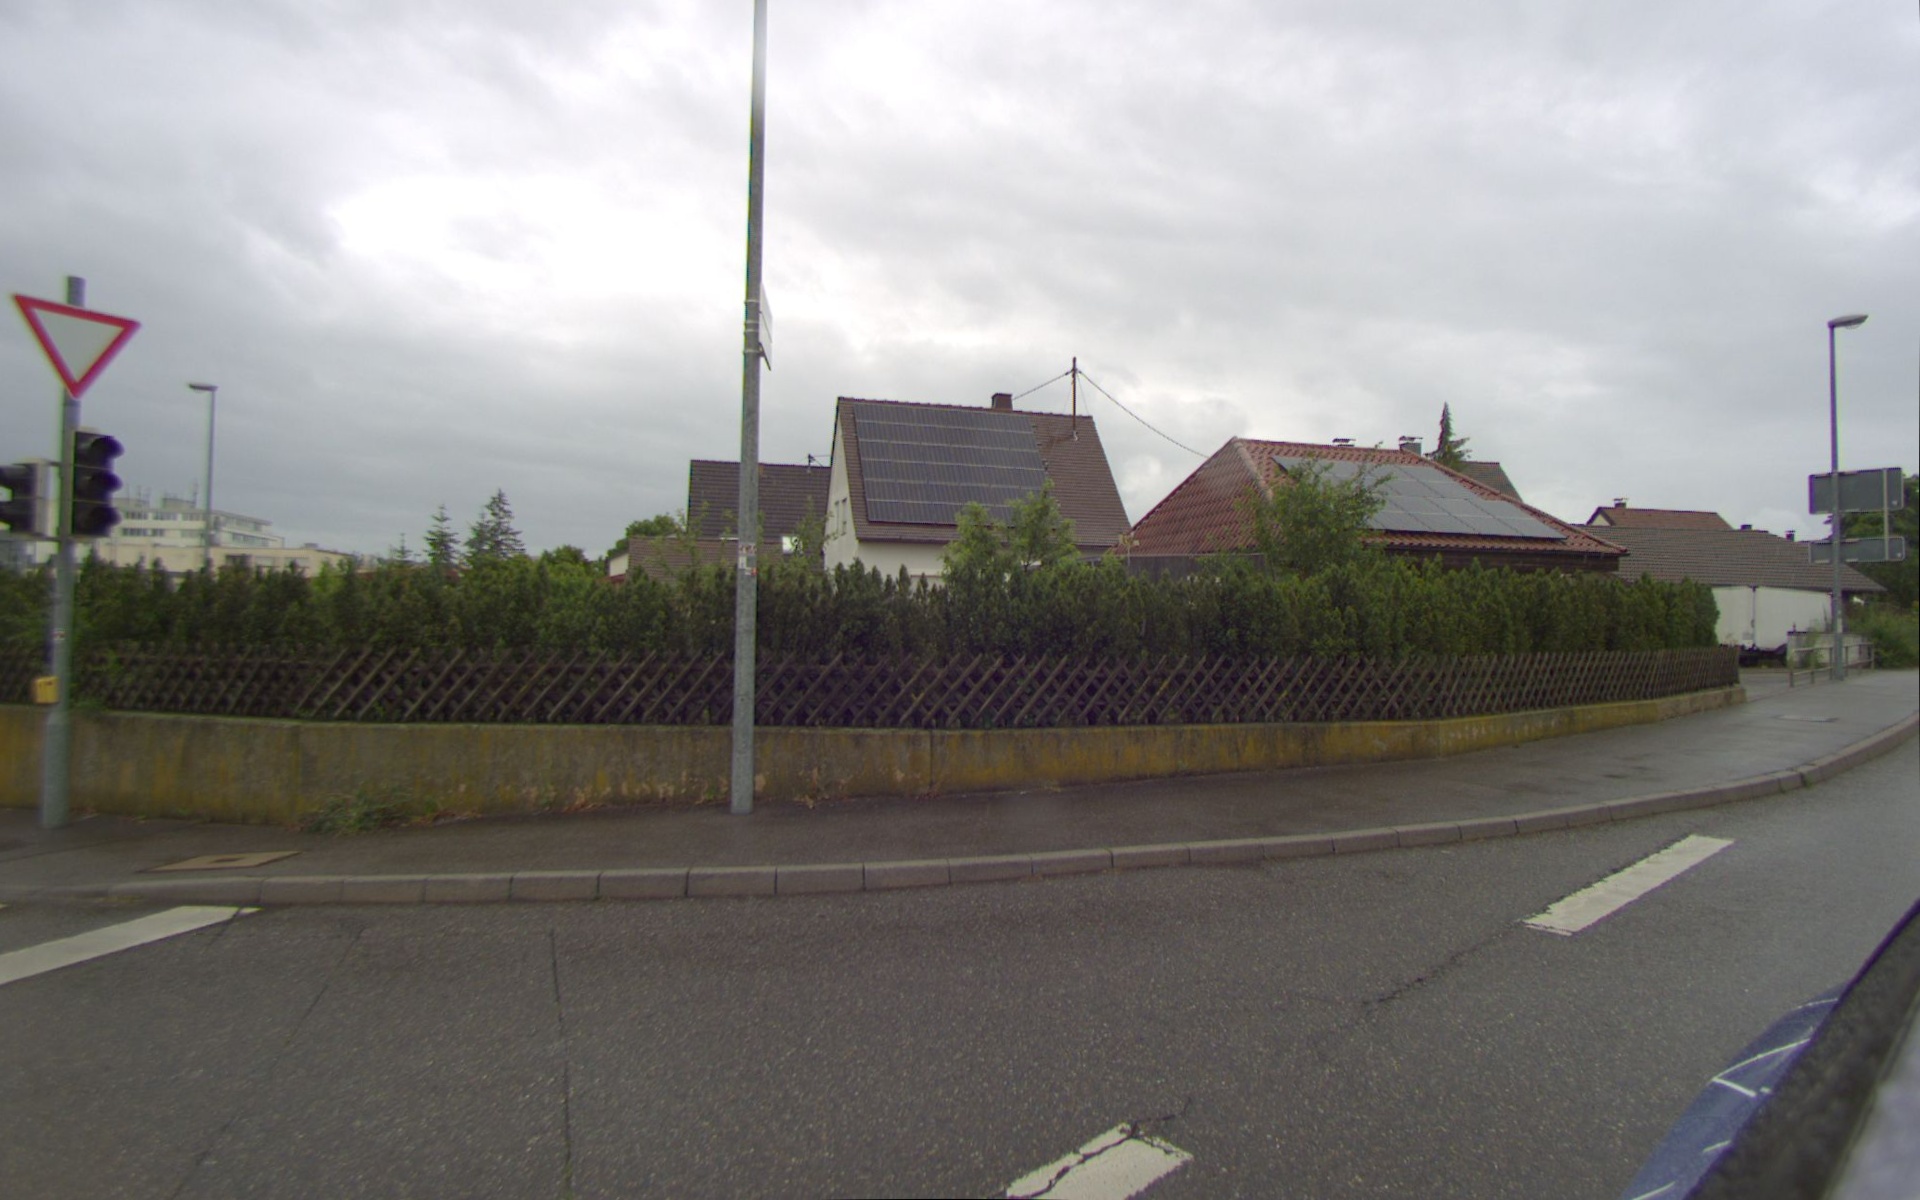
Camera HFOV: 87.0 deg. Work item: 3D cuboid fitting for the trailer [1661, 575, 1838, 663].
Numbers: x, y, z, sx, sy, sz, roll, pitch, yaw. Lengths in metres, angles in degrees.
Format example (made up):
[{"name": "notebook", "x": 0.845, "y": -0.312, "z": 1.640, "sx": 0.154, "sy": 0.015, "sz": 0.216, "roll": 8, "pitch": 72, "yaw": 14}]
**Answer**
[{"name": "trailer", "x": 24.005, "y": 0.589, "z": 30.809, "sx": 4.605, "sy": 2.550, "sz": 1.652, "roll": 0, "pitch": -2, "yaw": -13}]
